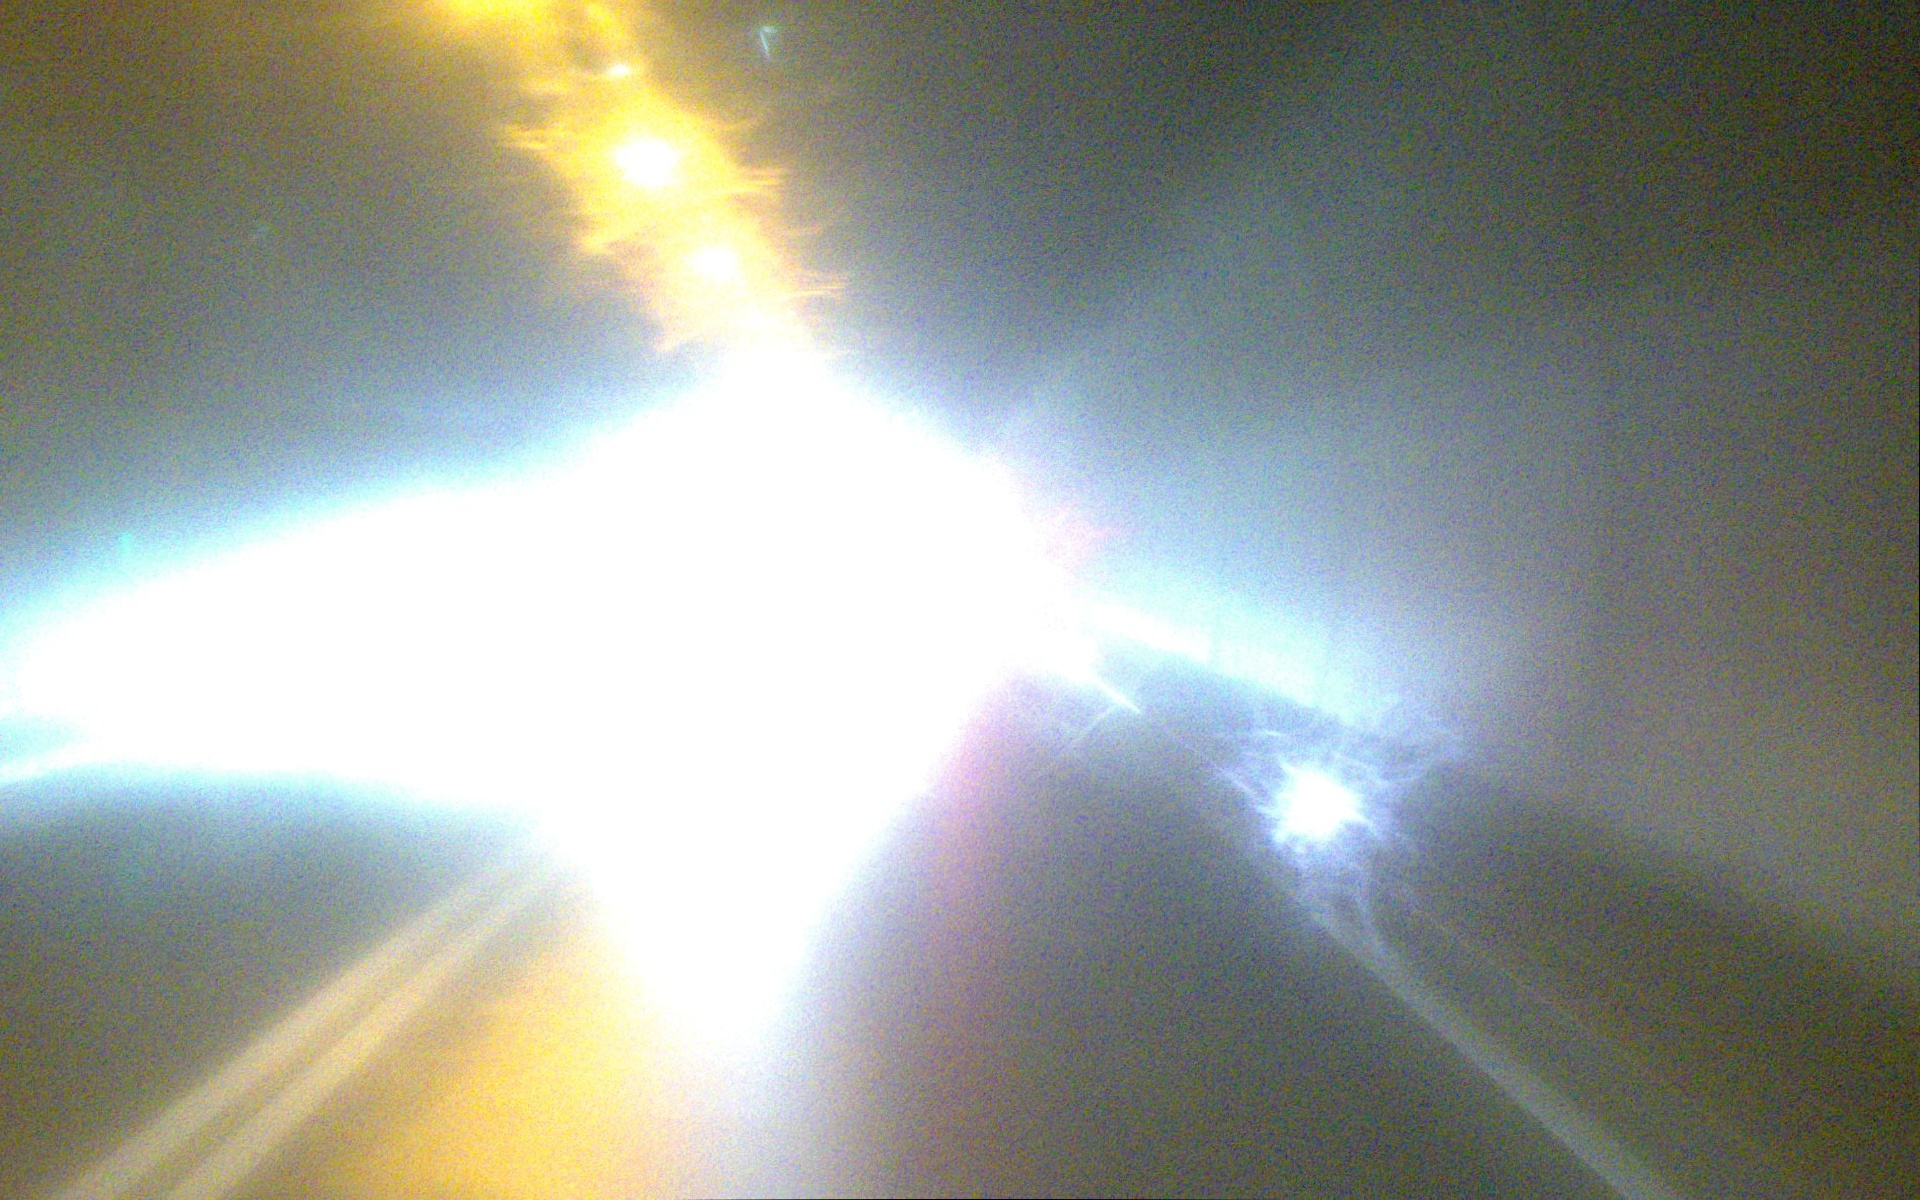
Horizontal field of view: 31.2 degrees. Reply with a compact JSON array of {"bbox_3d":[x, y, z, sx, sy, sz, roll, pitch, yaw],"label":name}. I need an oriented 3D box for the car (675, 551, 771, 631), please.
[{"bbox_3d":[-4.861,-0.207,70.888,1.748,1.579,4.000,1,1,-1],"label":"car"}]

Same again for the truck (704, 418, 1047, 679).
[{"bbox_3d":[-0.930,-0.613,40.207,3.535,2.684,8.956,-1,1,-1],"label":"truck"}]
